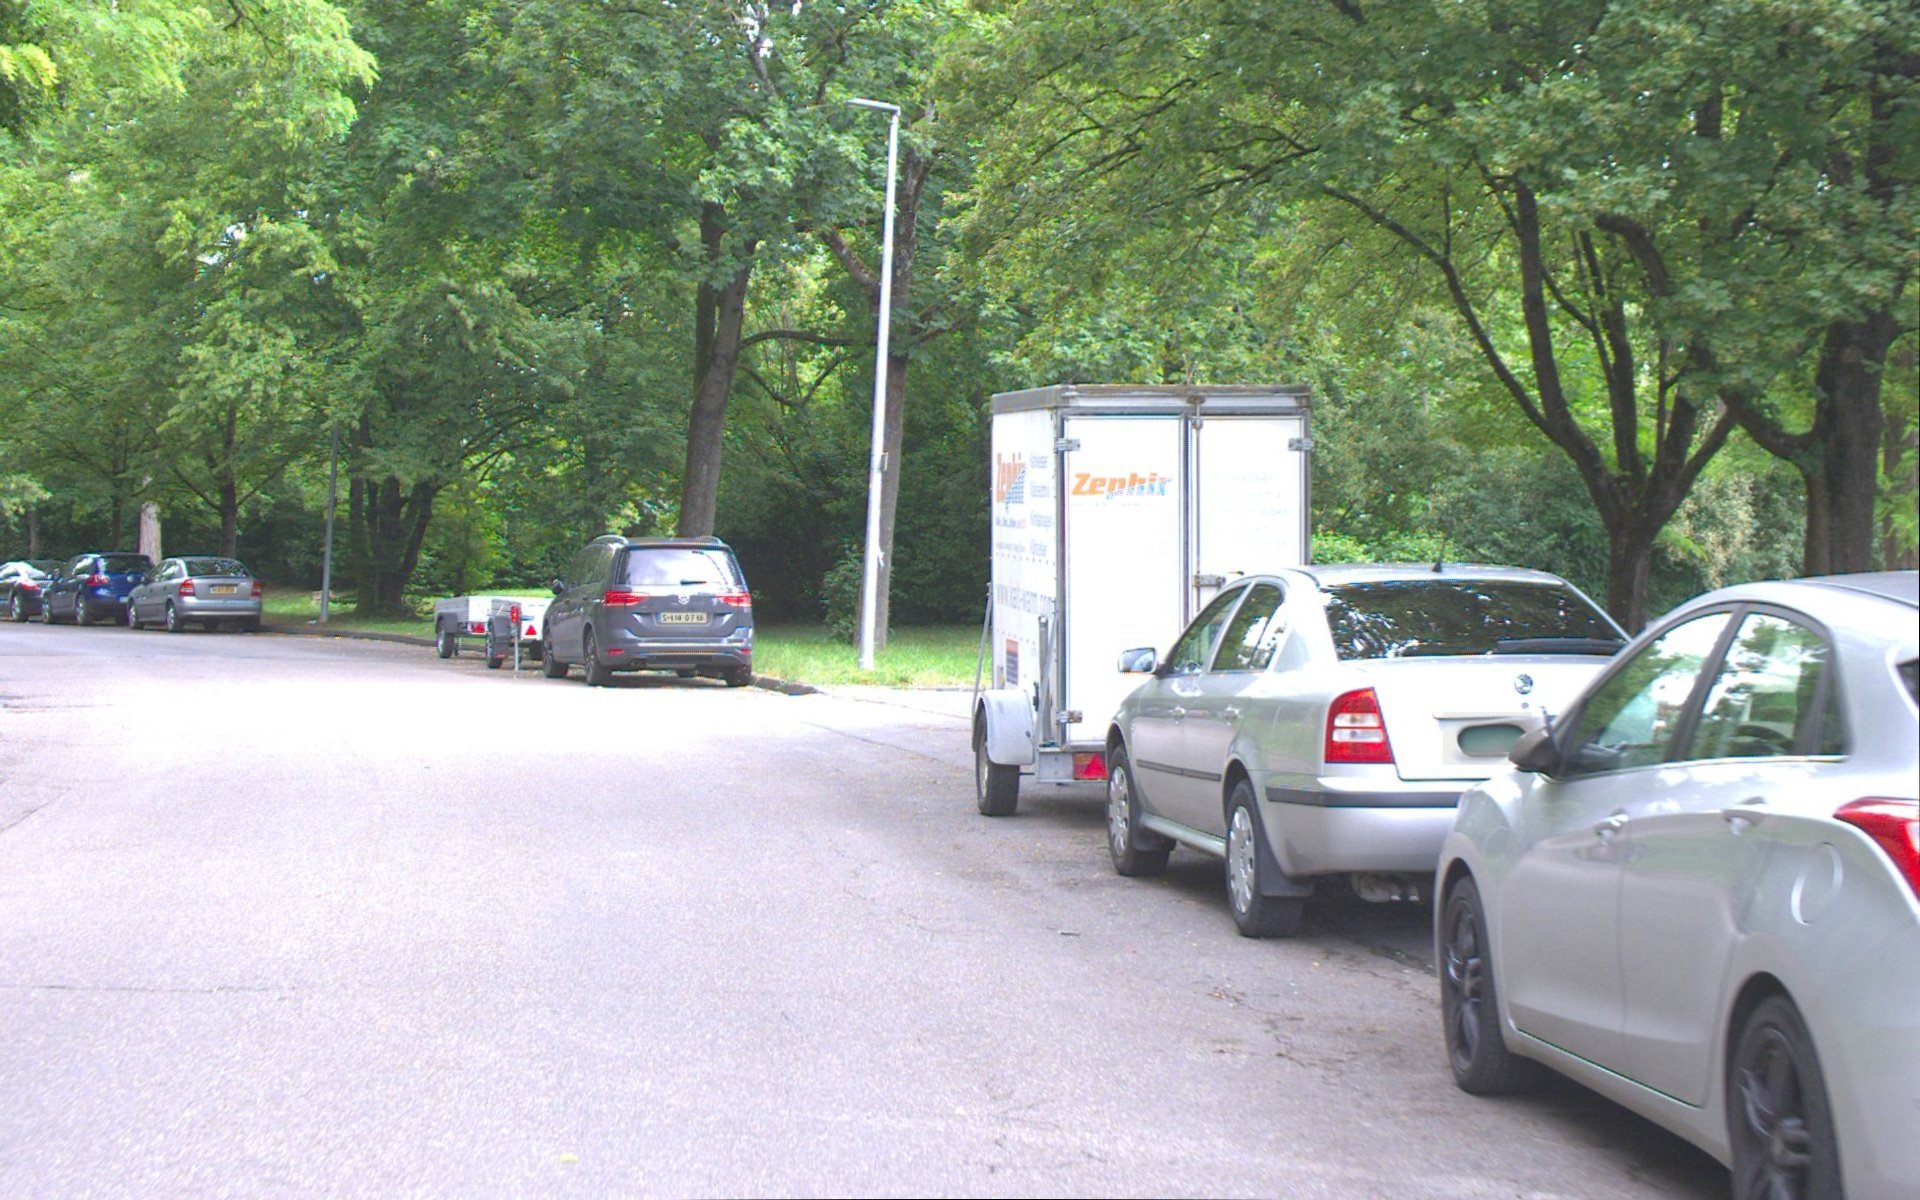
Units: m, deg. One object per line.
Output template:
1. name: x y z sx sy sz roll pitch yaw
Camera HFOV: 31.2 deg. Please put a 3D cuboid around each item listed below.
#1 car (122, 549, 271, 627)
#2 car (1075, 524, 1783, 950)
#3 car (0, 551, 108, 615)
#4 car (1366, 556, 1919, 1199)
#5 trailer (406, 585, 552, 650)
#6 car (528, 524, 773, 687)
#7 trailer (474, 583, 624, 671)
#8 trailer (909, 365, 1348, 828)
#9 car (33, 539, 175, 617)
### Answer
1. car: -14.536 -0.219 65.316 1.717 1.427 3.949 0 0 -29
2. car: 1.778 0.471 14.668 1.741 1.520 4.637 0 1 -9
3. car: -20.272 -0.382 75.364 1.750 1.332 4.415 2 0 -33
4. car: 2.326 0.658 8.144 1.902 1.471 4.060 0 1 -5
5. trailer: -6.900 0.254 49.140 1.363 0.845 3.279 3 -1 -20
6. car: -3.564 0.047 38.752 1.775 1.657 4.842 3 0 -16
7. trailer: -5.369 0.332 44.589 1.357 0.965 3.894 3 1 -15
8. trailer: 0.864 -0.040 20.007 1.760 2.418 3.888 0 1 -9
9. car: -17.781 -0.446 71.291 1.714 1.504 4.181 3 -2 -30
